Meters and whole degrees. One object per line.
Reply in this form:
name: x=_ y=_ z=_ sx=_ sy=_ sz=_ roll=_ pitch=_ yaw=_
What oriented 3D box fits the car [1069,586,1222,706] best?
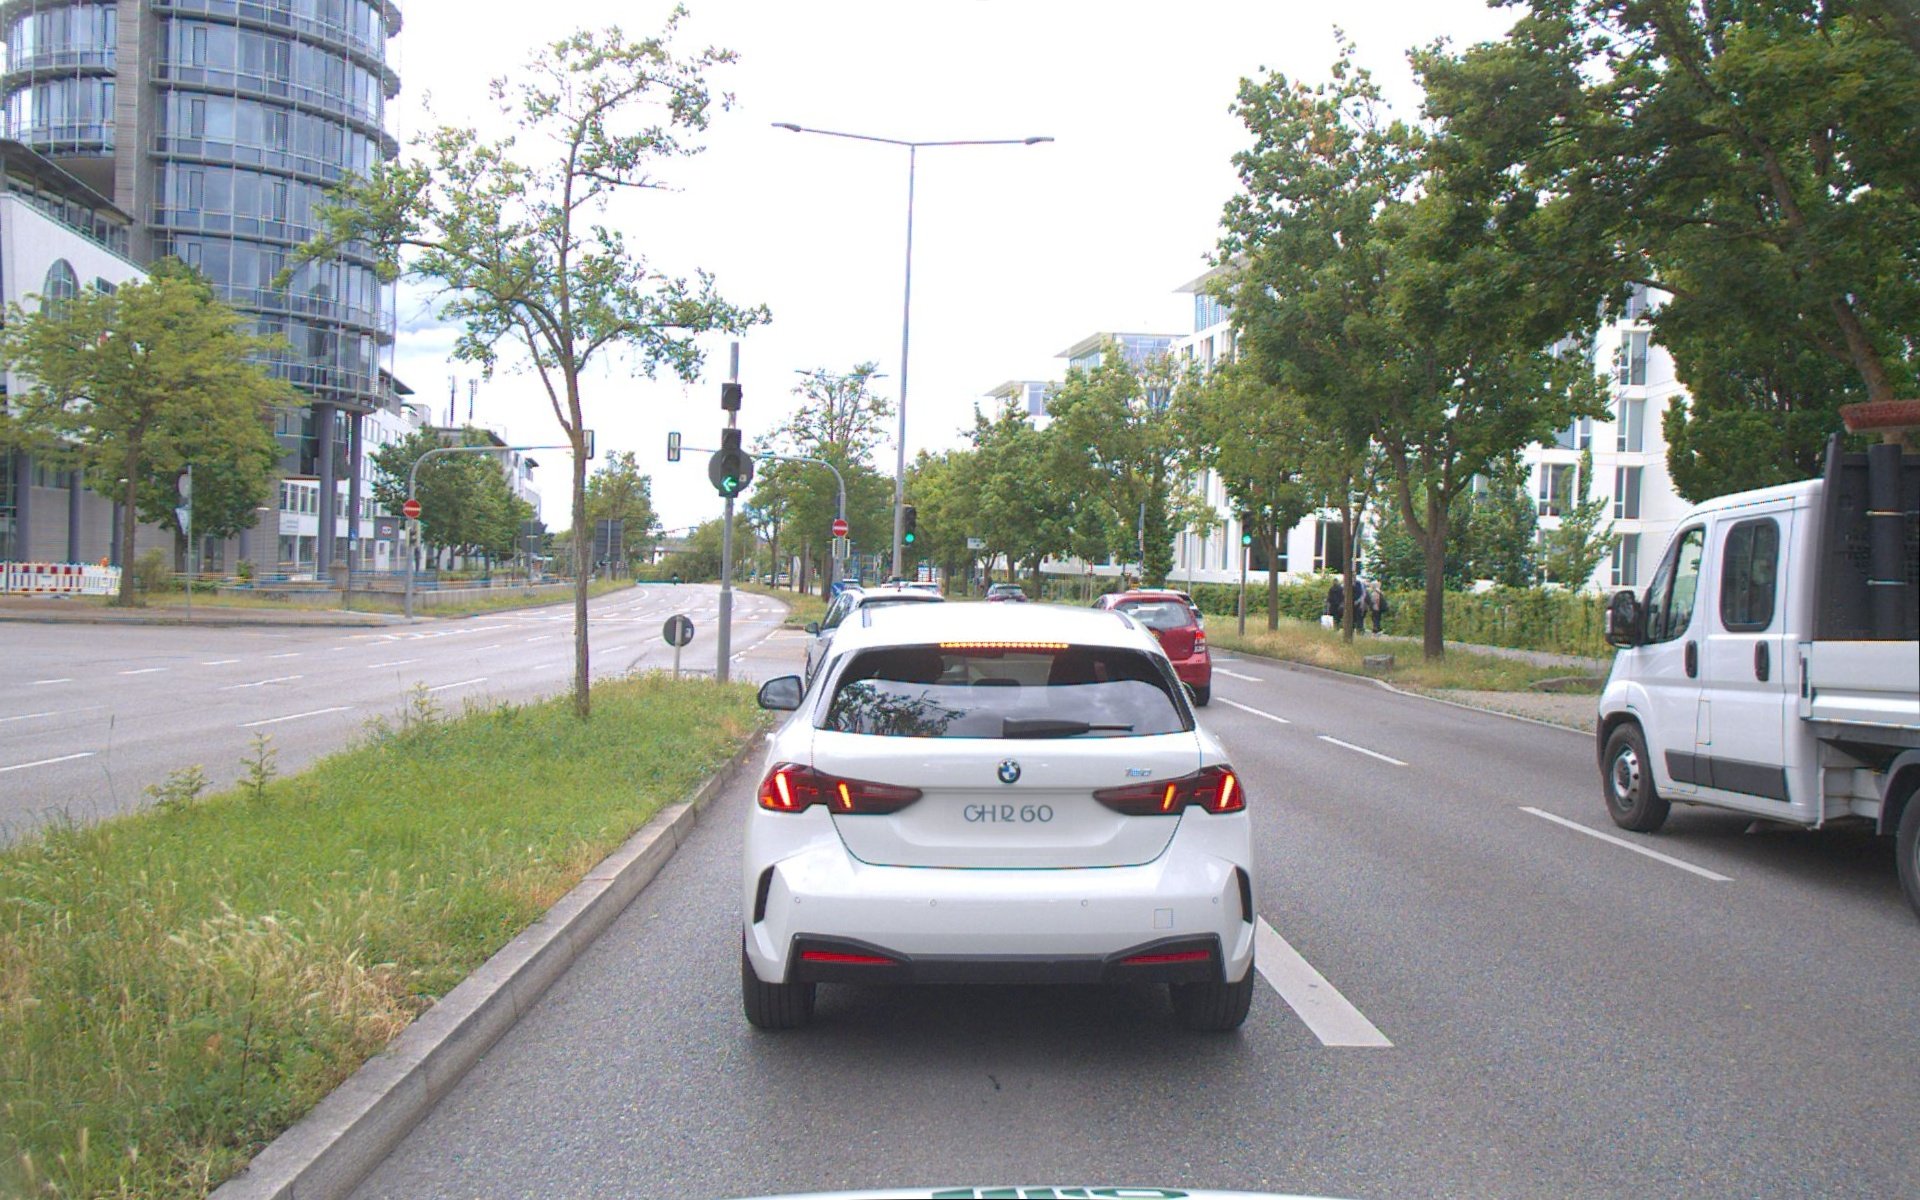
car: x=2.575 y=0.596 z=23.730 sx=1.681 sy=1.585 sz=3.857 roll=0 pitch=0 yaw=-1

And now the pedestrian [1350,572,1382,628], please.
pedestrian: x=12.080 y=0.008 z=49.204 sx=0.685 sy=1.623 sz=0.883 roll=1 pitch=-1 yaw=-2

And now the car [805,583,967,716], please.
car: x=-1.074 y=0.590 z=22.163 sx=1.522 sy=1.596 sz=3.988 roll=1 pitch=0 yaw=-12

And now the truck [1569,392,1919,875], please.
truck: x=5.507 y=0.172 z=8.832 sx=2.167 sy=2.242 sz=5.842 roll=1 pitch=0 yaw=-2

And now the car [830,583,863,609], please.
car: x=-7.569 y=-0.293 z=110.131 sx=1.856 sy=1.623 sz=4.305 roll=1 pitch=0 yaw=-9

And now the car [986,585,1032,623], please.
car: x=2.082 y=0.179 z=70.859 sx=1.624 sy=1.539 sz=3.997 roll=1 pitch=-1 yaw=-3

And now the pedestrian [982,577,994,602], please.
pedestrian: x=2.324 y=-0.906 z=139.328 sx=0.835 sy=2.049 sz=0.603 roll=1 pitch=0 yaw=-16

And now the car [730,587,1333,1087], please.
car: x=0.192 y=0.708 z=6.983 sx=1.785 sy=1.463 sz=3.999 roll=1 pitch=0 yaw=-1

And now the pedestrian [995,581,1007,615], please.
pedestrian: x=3.219 y=-0.144 z=130.312 sx=0.814 sy=2.673 sz=0.646 roll=1 pitch=0 yaw=-1

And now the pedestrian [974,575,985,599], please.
pedestrian: x=1.632 y=-1.076 z=141.154 sx=0.749 sy=2.049 sz=0.751 roll=1 pitch=-1 yaw=-16

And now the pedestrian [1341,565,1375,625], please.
pedestrian: x=10.821 y=-0.130 z=44.999 sx=0.726 sy=1.601 sz=0.674 roll=1 pitch=-1 yaw=-2

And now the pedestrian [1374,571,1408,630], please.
pedestrian: x=12.835 y=0.021 z=49.275 sx=0.751 sy=1.715 sz=0.883 roll=1 pitch=-1 yaw=-2

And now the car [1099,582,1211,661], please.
car: x=4.161 y=0.433 z=35.800 sx=1.682 sy=1.583 sz=4.086 roll=1 pitch=0 yaw=-4

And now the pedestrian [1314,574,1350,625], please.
pedestrian: x=11.073 y=-0.009 z=49.249 sx=0.773 sy=1.473 sz=1.111 roll=1 pitch=0 yaw=-2

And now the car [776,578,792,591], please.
car: x=-23.990 y=-2.103 z=224.920 sx=1.957 sy=1.699 sz=3.991 roll=0 pitch=0 yaw=-10

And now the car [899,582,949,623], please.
car: x=-1.544 y=0.094 z=68.889 sx=1.818 sy=1.624 sz=4.309 roll=0 pitch=0 yaw=-5

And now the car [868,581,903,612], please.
car: x=-3.752 y=-0.186 z=83.196 sx=1.574 sy=1.494 sz=3.671 roll=1 pitch=0 yaw=-5
